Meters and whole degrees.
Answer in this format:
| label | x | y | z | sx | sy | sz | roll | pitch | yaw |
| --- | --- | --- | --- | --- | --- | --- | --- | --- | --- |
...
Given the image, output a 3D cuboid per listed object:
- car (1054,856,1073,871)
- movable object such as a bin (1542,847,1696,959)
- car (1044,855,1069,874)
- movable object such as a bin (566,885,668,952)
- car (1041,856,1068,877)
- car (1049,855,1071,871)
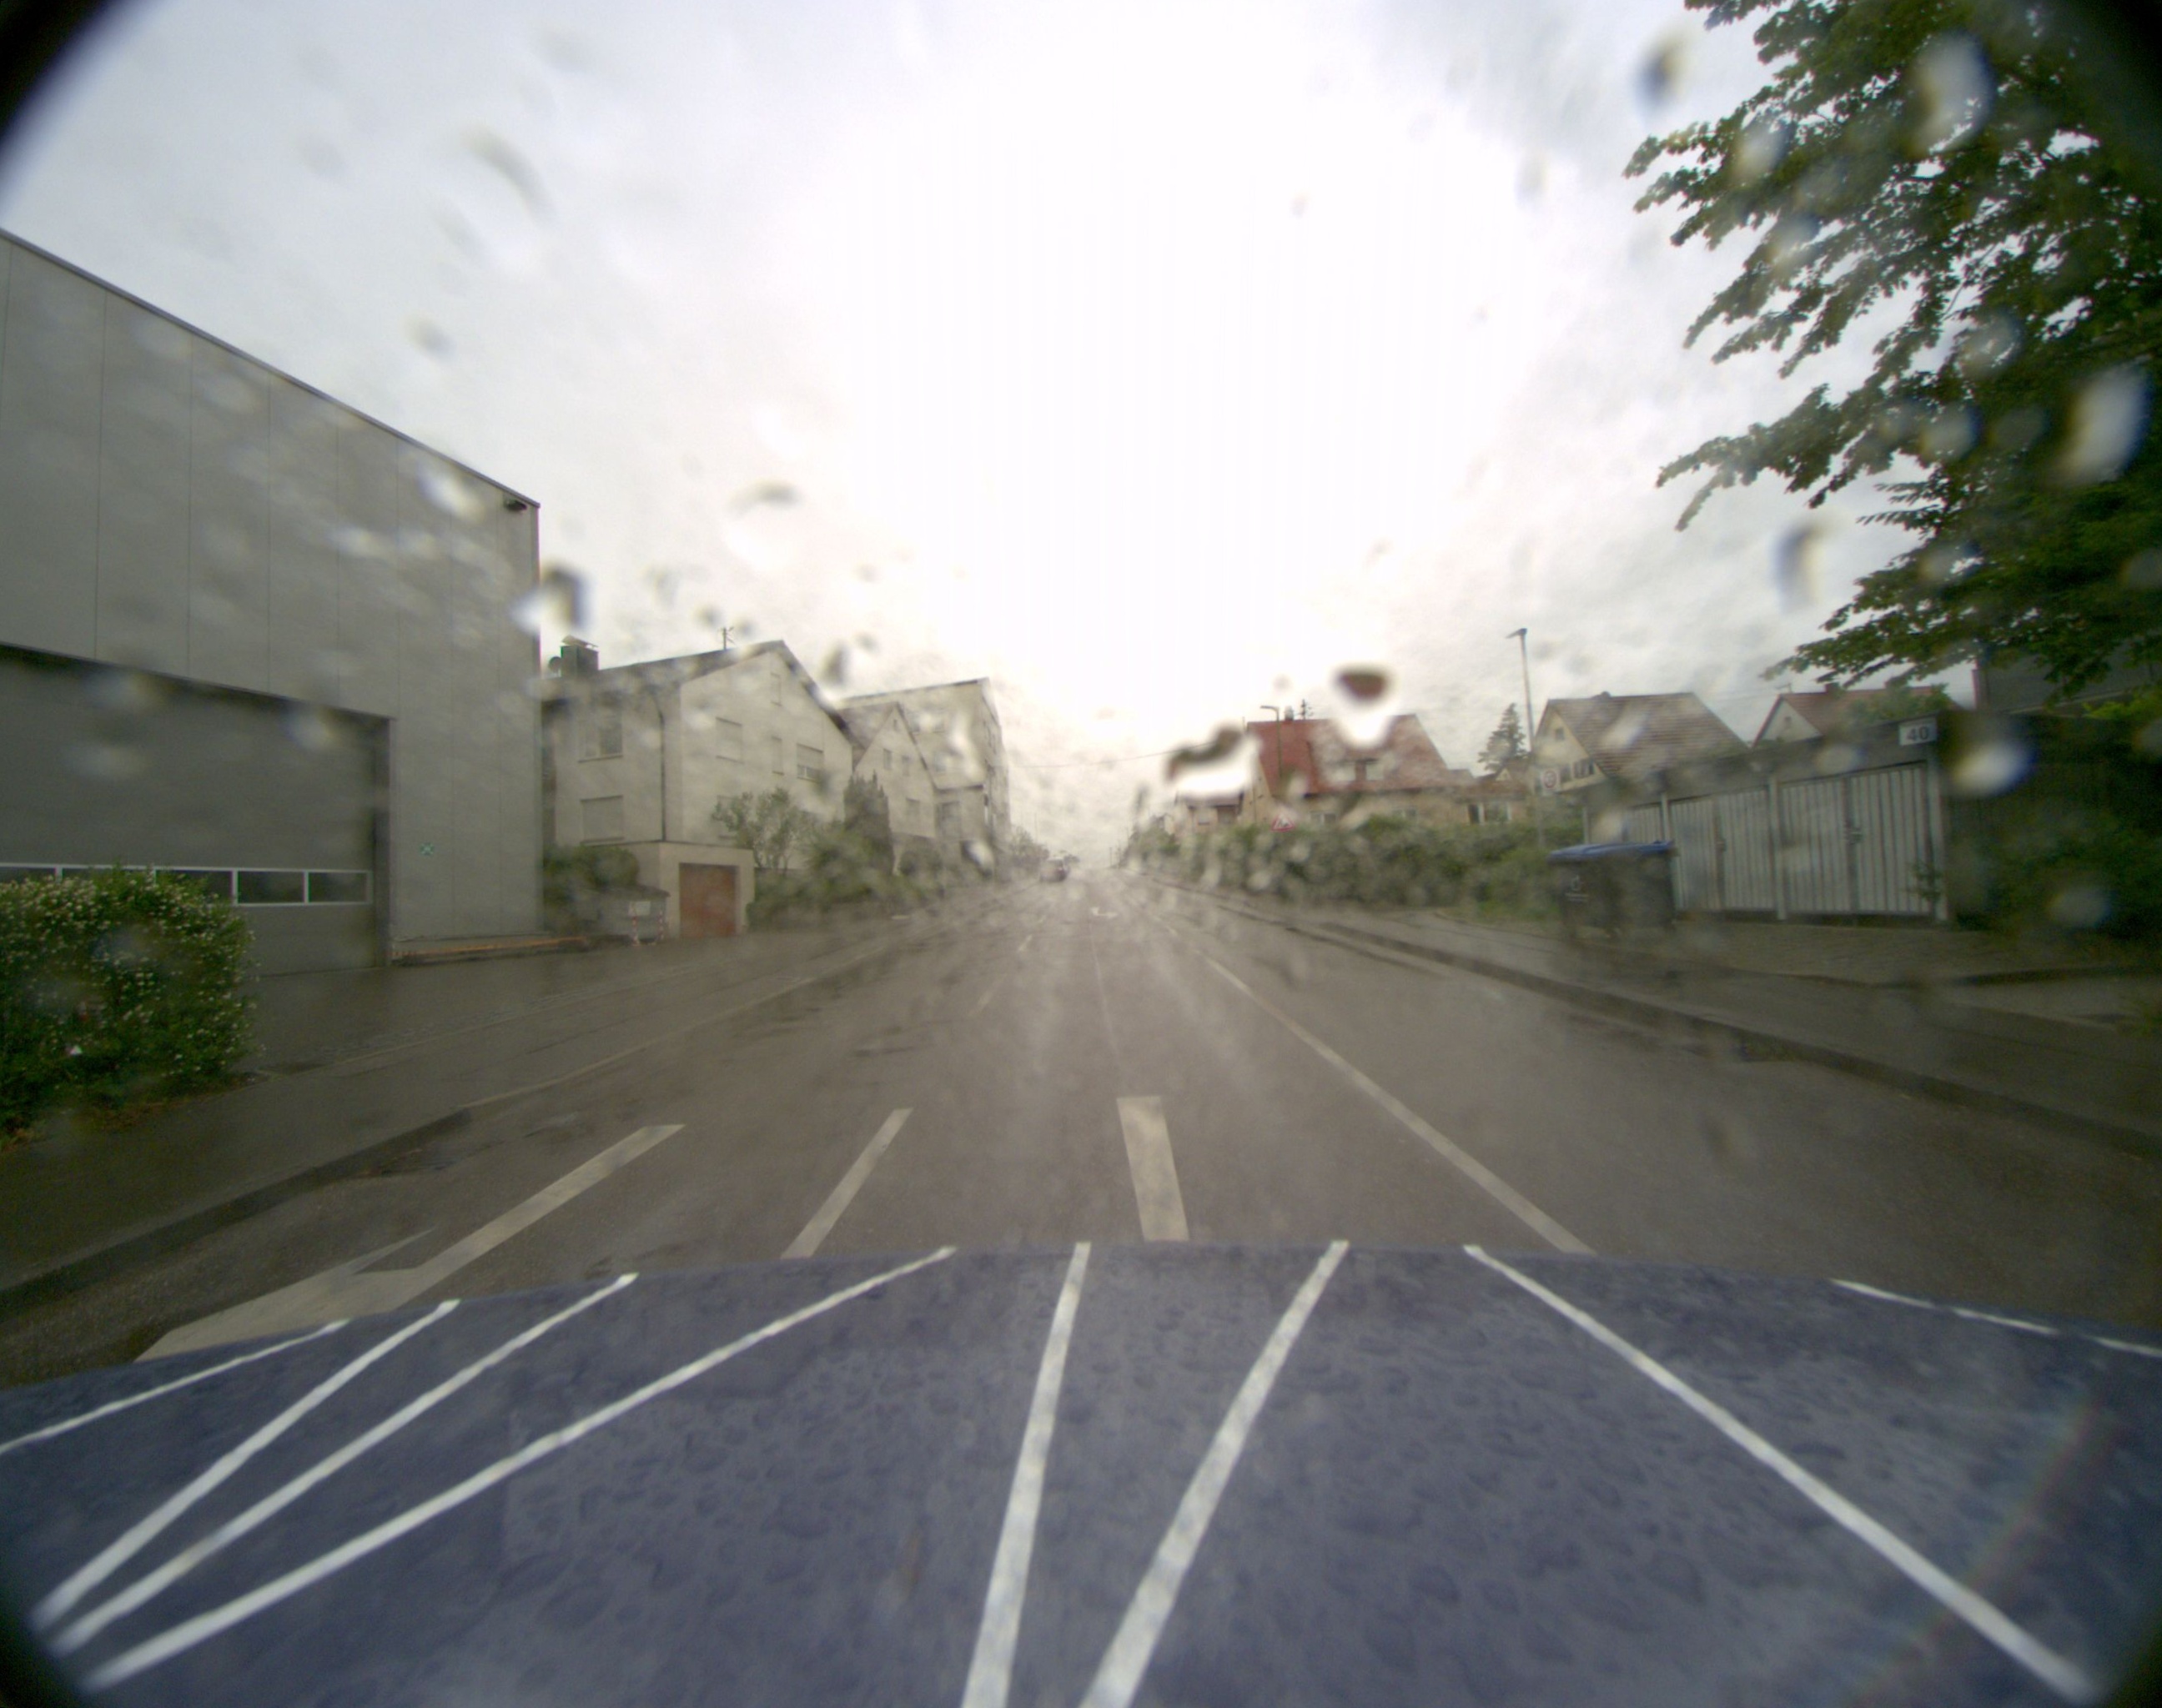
| label | x | y | z | sx | sy | sz | roll | pitch | yaw |
| --- | --- | --- | --- | --- | --- | --- | --- | --- | --- |
| car | -1.932 | 1.081 | 85.799 | 1.848 | 1.514 | 4.001 | -2 | 0 | 2 |
| movable object such as a bin | 7.154 | 0.627 | 10.185 | 1.056 | 1.289 | 1.202 | -7 | -1 | 1 |
| car | -2.086 | 0.889 | 66.636 | 1.848 | 1.514 | 4.001 | -2 | 0 | 2 |
| movable object such as a bin | -11.549 | 1.585 | 18.977 | 1.446 | 1.526 | 1.591 | -2 | -1 | 16 |
| car | -2.088 | 0.999 | 61.096 | 1.848 | 1.514 | 4.001 | -2 | 0 | 2 |
| car | -2.018 | 0.863 | 73.667 | 1.848 | 1.514 | 4.001 | -2 | 0 | 2 |
